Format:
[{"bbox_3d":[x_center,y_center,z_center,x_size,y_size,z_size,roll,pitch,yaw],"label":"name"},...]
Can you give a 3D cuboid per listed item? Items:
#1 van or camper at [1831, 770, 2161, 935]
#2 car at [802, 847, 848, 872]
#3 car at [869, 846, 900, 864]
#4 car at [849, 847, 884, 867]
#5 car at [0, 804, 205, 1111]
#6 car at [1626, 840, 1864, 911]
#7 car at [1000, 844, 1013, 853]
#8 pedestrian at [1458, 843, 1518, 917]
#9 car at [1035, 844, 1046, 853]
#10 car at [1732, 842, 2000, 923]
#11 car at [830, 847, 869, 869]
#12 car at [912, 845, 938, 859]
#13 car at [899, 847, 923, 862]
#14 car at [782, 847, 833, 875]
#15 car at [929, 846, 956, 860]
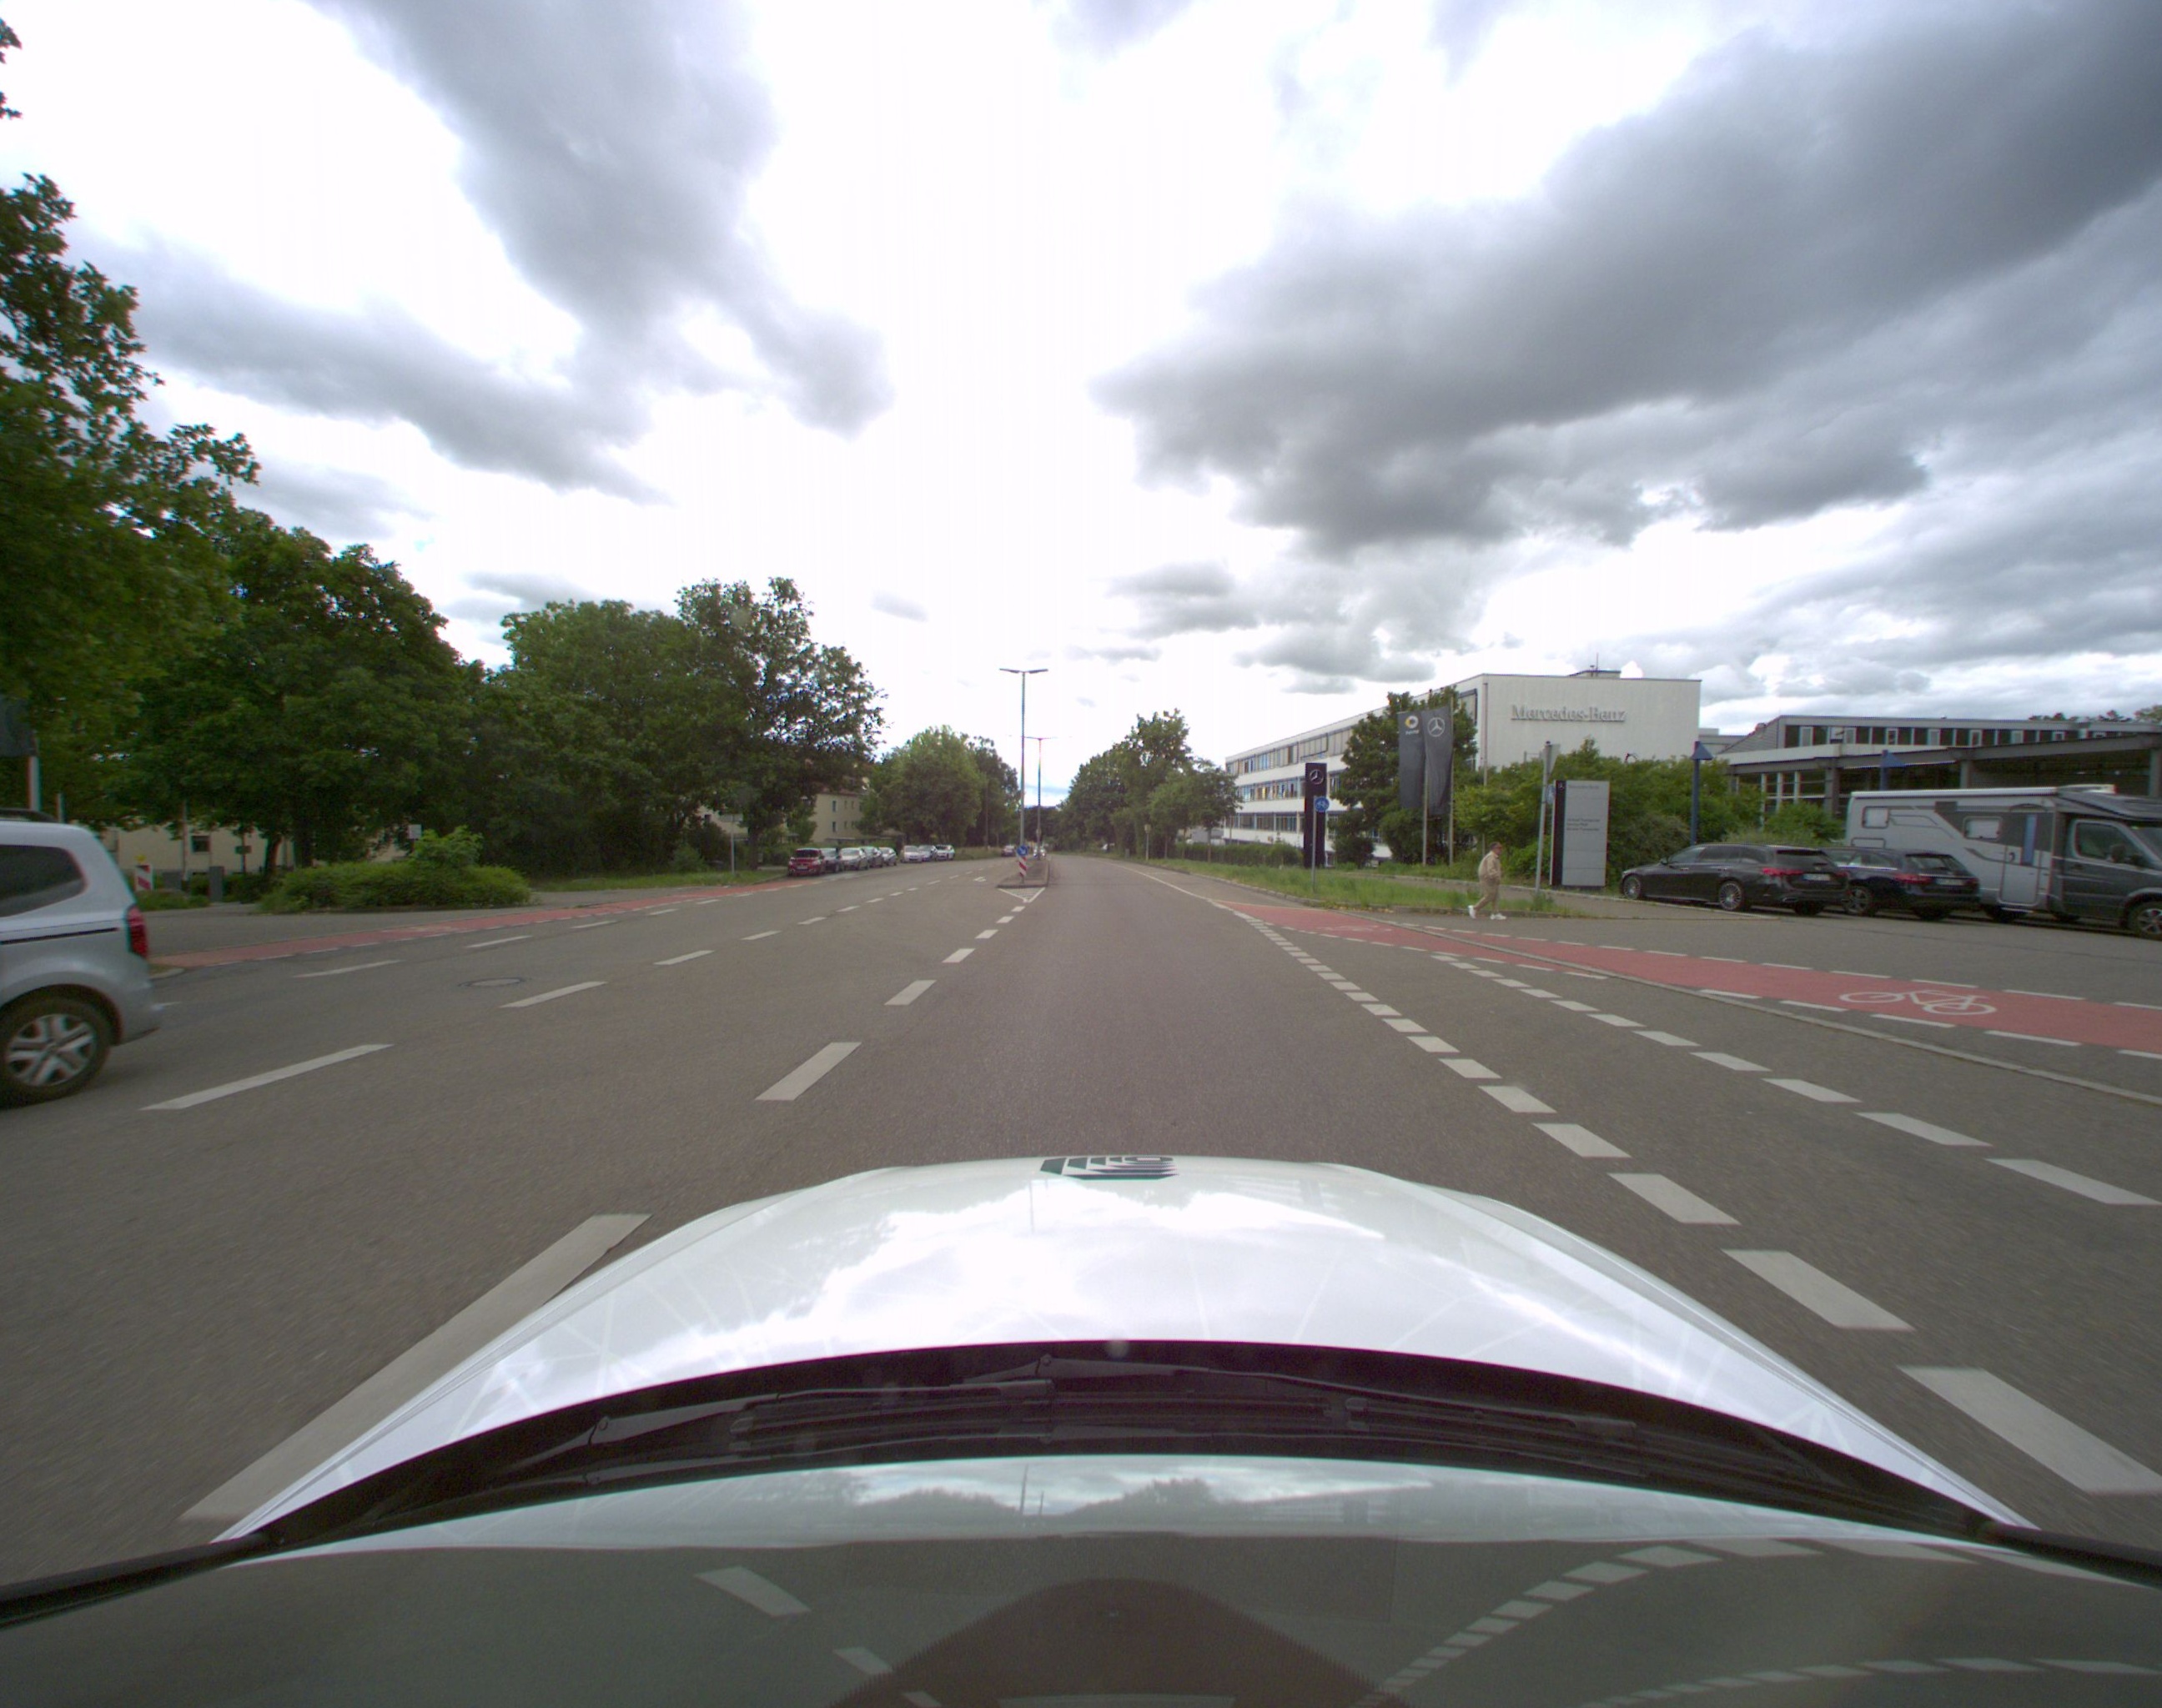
[{"bbox_3d":[19.760,-0.067,16.827,1.961,2.868,6.913,0,1,-3],"label":"van or camper"},{"bbox_3d":[-15.308,0.287,48.864,1.669,1.402,3.995,0,1,-4],"label":"car"},{"bbox_3d":[-15.606,0.060,64.853,1.669,1.402,3.995,0,1,-4],"label":"car"},{"bbox_3d":[-15.659,0.197,59.653,1.669,1.402,3.995,0,1,-4],"label":"car"},{"bbox_3d":[-7.261,0.655,3.554,1.841,1.803,4.648,-2,1,-2],"label":"car"},{"bbox_3d":[14.132,0.376,17.726,1.705,1.354,4.344,0,1,1],"label":"car"},{"bbox_3d":[-11.285,-0.824,123.615,1.766,1.304,3.999,0,1,-1],"label":"car"},{"bbox_3d":[8.242,0.504,16.502,0.791,1.463,0.744,0,1,-19],"label":"pedestrian"},{"bbox_3d":[-6.287,-0.837,126.092,1.607,1.304,3.999,0,1,-1],"label":"car"},{"bbox_3d":[16.941,0.531,17.940,1.705,1.508,4.344,2,1,0],"label":"car"},{"bbox_3d":[-15.232,0.222,53.770,1.669,1.402,3.995,0,1,-3],"label":"car"},{"bbox_3d":[-15.076,-0.178,78.931,1.666,1.304,4.002,0,1,1],"label":"car"},{"bbox_3d":[-15.511,-0.003,74.191,1.678,1.304,3.974,0,1,-19],"label":"car"},{"bbox_3d":[-14.860,0.340,44.437,1.669,1.402,3.995,0,1,-4],"label":"car"},{"bbox_3d":[-14.245,-0.122,84.042,1.664,1.304,4.007,1,1,6],"label":"car"}]
